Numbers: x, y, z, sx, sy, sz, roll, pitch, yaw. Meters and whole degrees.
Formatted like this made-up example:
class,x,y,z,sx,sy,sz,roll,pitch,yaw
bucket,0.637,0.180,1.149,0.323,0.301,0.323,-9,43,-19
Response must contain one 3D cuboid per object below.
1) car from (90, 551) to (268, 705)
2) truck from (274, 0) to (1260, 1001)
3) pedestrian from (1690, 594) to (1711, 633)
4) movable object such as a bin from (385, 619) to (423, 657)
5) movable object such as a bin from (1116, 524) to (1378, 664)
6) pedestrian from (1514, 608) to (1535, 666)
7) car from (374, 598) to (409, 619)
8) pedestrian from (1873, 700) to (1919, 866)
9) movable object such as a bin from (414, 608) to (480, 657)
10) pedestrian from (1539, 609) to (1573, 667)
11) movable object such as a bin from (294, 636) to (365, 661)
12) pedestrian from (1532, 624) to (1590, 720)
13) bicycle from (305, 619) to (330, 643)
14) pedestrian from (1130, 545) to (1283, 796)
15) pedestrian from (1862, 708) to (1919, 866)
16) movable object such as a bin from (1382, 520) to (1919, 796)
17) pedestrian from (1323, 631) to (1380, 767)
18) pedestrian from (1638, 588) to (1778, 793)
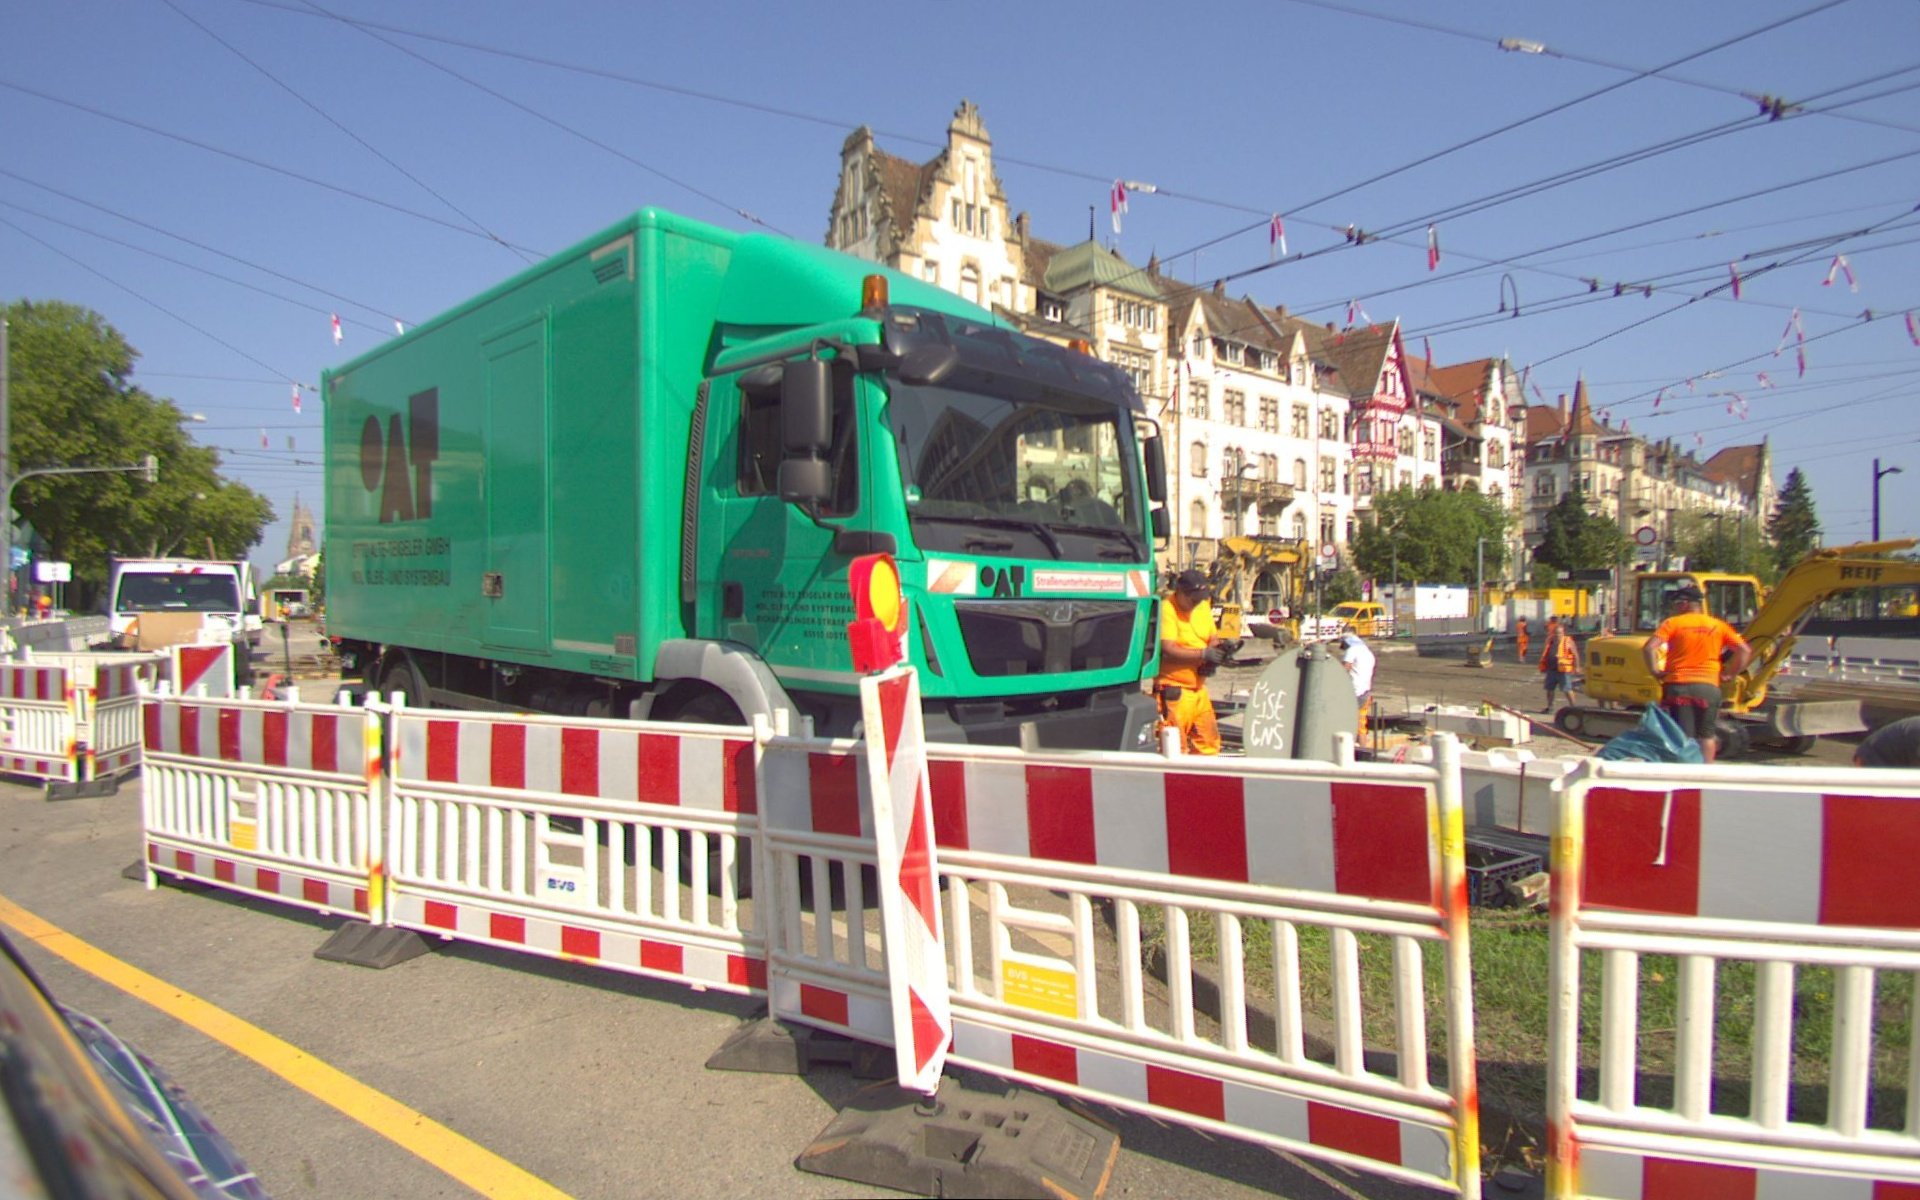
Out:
class,x,y,z,sx,sy,sz,roll,pitch,yaw
car,-15.257,0.450,19.537,2.180,2.442,7.209,1,0,-42
truck,-2.320,-0.391,7.728,8.414,3.942,2.763,-1,0,41
pedestrian,39.415,0.713,53.861,0.667,2.029,0.639,0,0,-24
movable object such as a bin,-18.487,1.234,33.632,0.875,1.220,2.218,1,-1,-35
movable object such as a bin,9.957,-0.182,35.454,7.253,4.380,4.986,1,1,-24
pedestrian,20.487,1.323,36.741,0.666,2.080,0.890,0,0,29
car,-60.210,0.921,107.161,2.330,2.151,7.138,1,0,-37
pedestrian,5.915,1.085,5.848,0.503,0.933,0.825,1,-1,-29
movable object such as a bin,-17.633,1.067,34.738,1.578,1.570,3.294,1,0,-35
pedestrian,21.354,1.339,36.260,0.658,2.029,0.830,0,0,-13
movable object such as a bin,-19.335,1.478,31.052,1.698,0.719,0.718,0,0,-3
pedestrian,11.325,1.336,19.100,0.828,1.762,0.663,0,-1,23
bicycle,-31.245,1.485,49.226,1.968,1.107,0.556,1,1,44
pedestrian,1.672,0.452,6.874,0.750,1.578,0.693,1,-1,-37
pedestrian,6.654,1.260,6.717,0.504,0.996,0.936,1,-1,-42
movable object such as a bin,10.589,0.566,13.569,3.566,2.980,8.496,-1,1,-37
pedestrian,4.757,1.174,12.281,0.554,1.578,0.696,-1,-1,26
pedestrian,6.077,0.705,8.263,0.814,1.578,0.551,-1,-1,28
